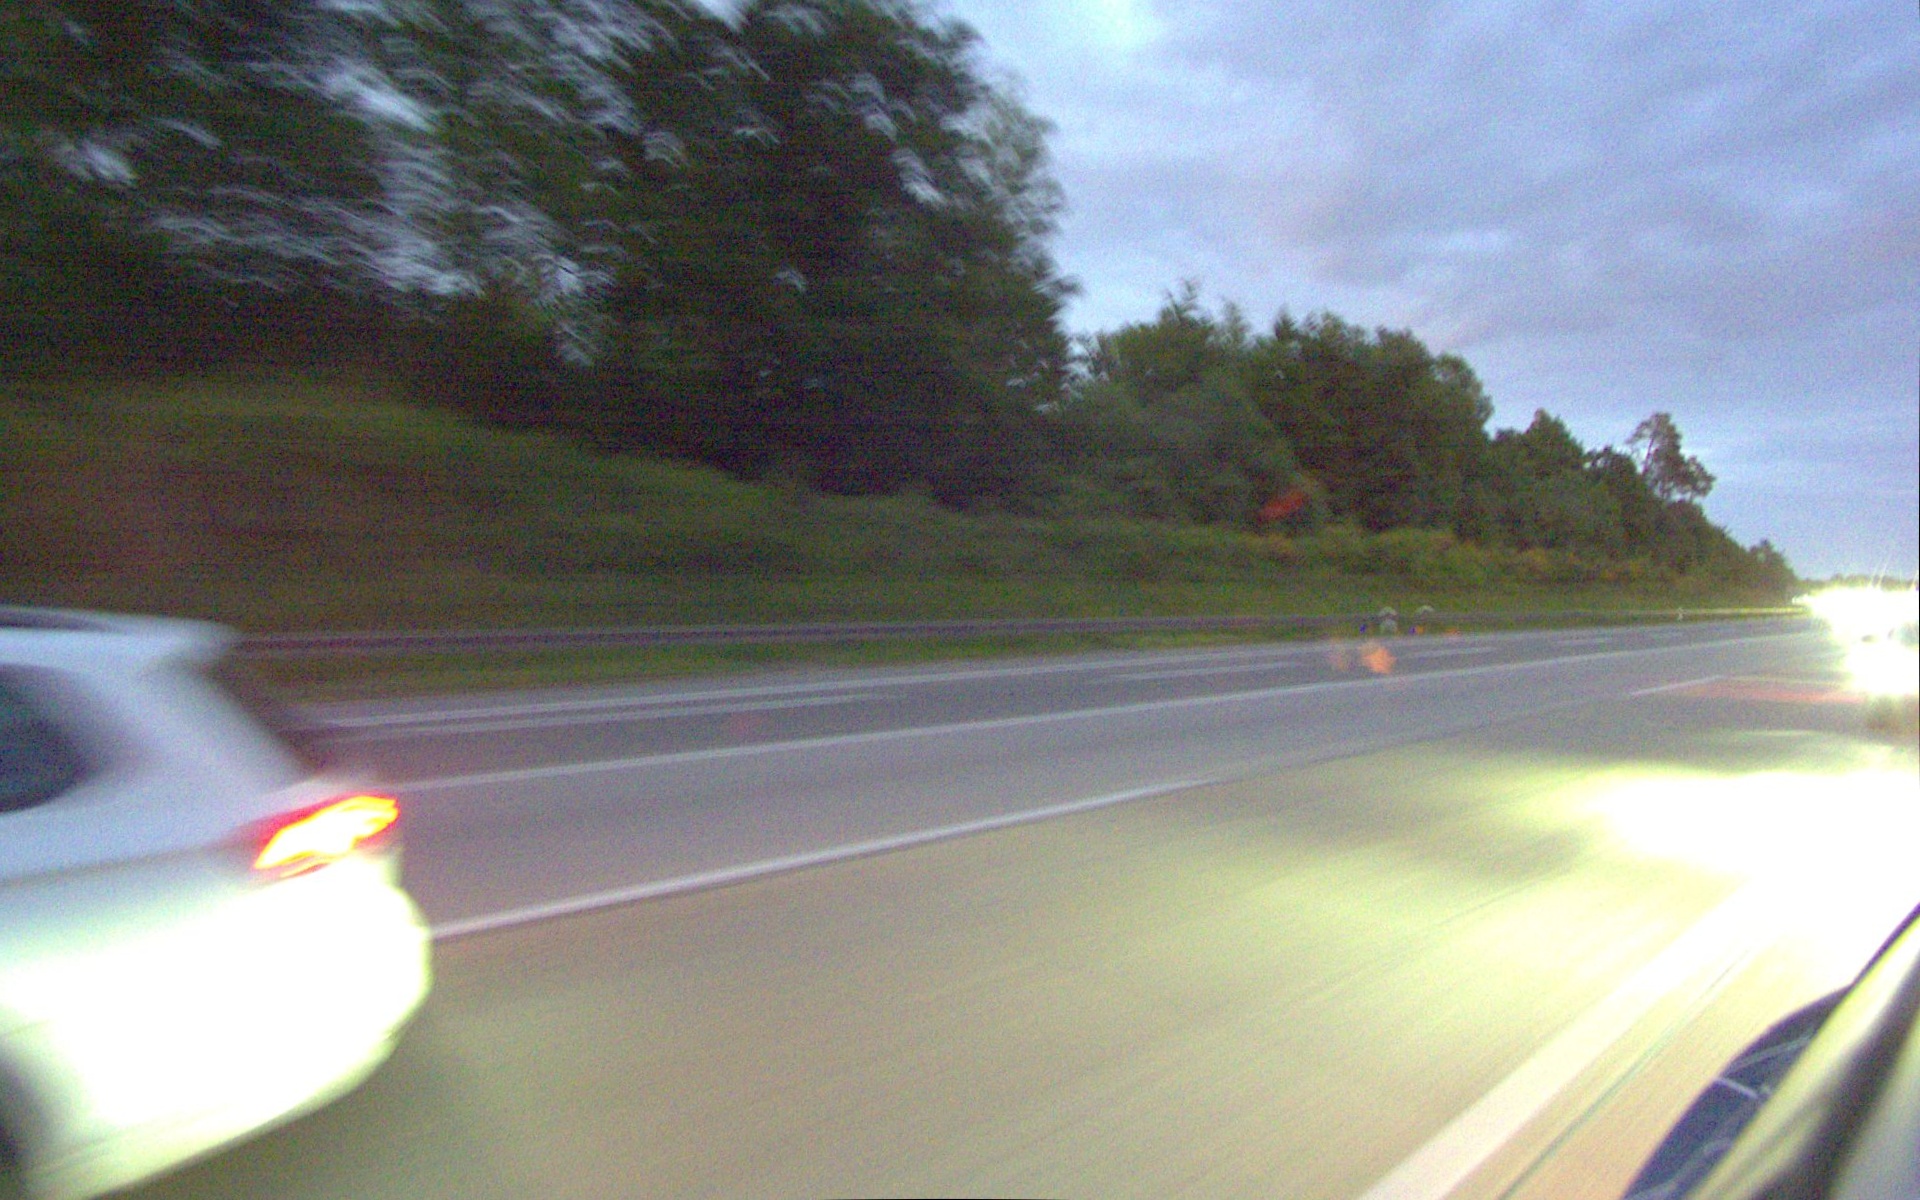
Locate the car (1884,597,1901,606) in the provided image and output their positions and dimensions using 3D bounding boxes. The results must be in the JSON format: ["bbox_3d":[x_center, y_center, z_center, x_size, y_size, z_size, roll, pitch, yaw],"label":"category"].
[{"bbox_3d":[160.067,0.267,173.695,1.994,1.568,3.936,1,0,44],"label":"car"}]

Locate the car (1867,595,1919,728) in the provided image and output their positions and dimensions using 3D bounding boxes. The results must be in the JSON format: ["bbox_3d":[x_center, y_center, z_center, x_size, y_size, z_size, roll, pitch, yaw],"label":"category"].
[{"bbox_3d":[12.506,0.693,12.302,4.376,1.461,1.877,0,0,-44],"label":"car"}]

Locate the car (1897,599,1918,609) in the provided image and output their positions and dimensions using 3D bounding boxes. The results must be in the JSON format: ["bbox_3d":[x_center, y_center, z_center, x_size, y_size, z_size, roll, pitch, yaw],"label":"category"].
[{"bbox_3d":[137.118,0.588,146.494,3.972,1.398,1.818,0,0,-41],"label":"car"}]

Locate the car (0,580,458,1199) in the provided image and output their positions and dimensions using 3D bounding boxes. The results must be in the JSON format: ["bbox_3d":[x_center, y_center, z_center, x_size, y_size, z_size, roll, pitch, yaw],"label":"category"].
[{"bbox_3d":[-3.690,0.676,1.441,5.042,1.484,1.812,1,0,-41],"label":"car"}]
